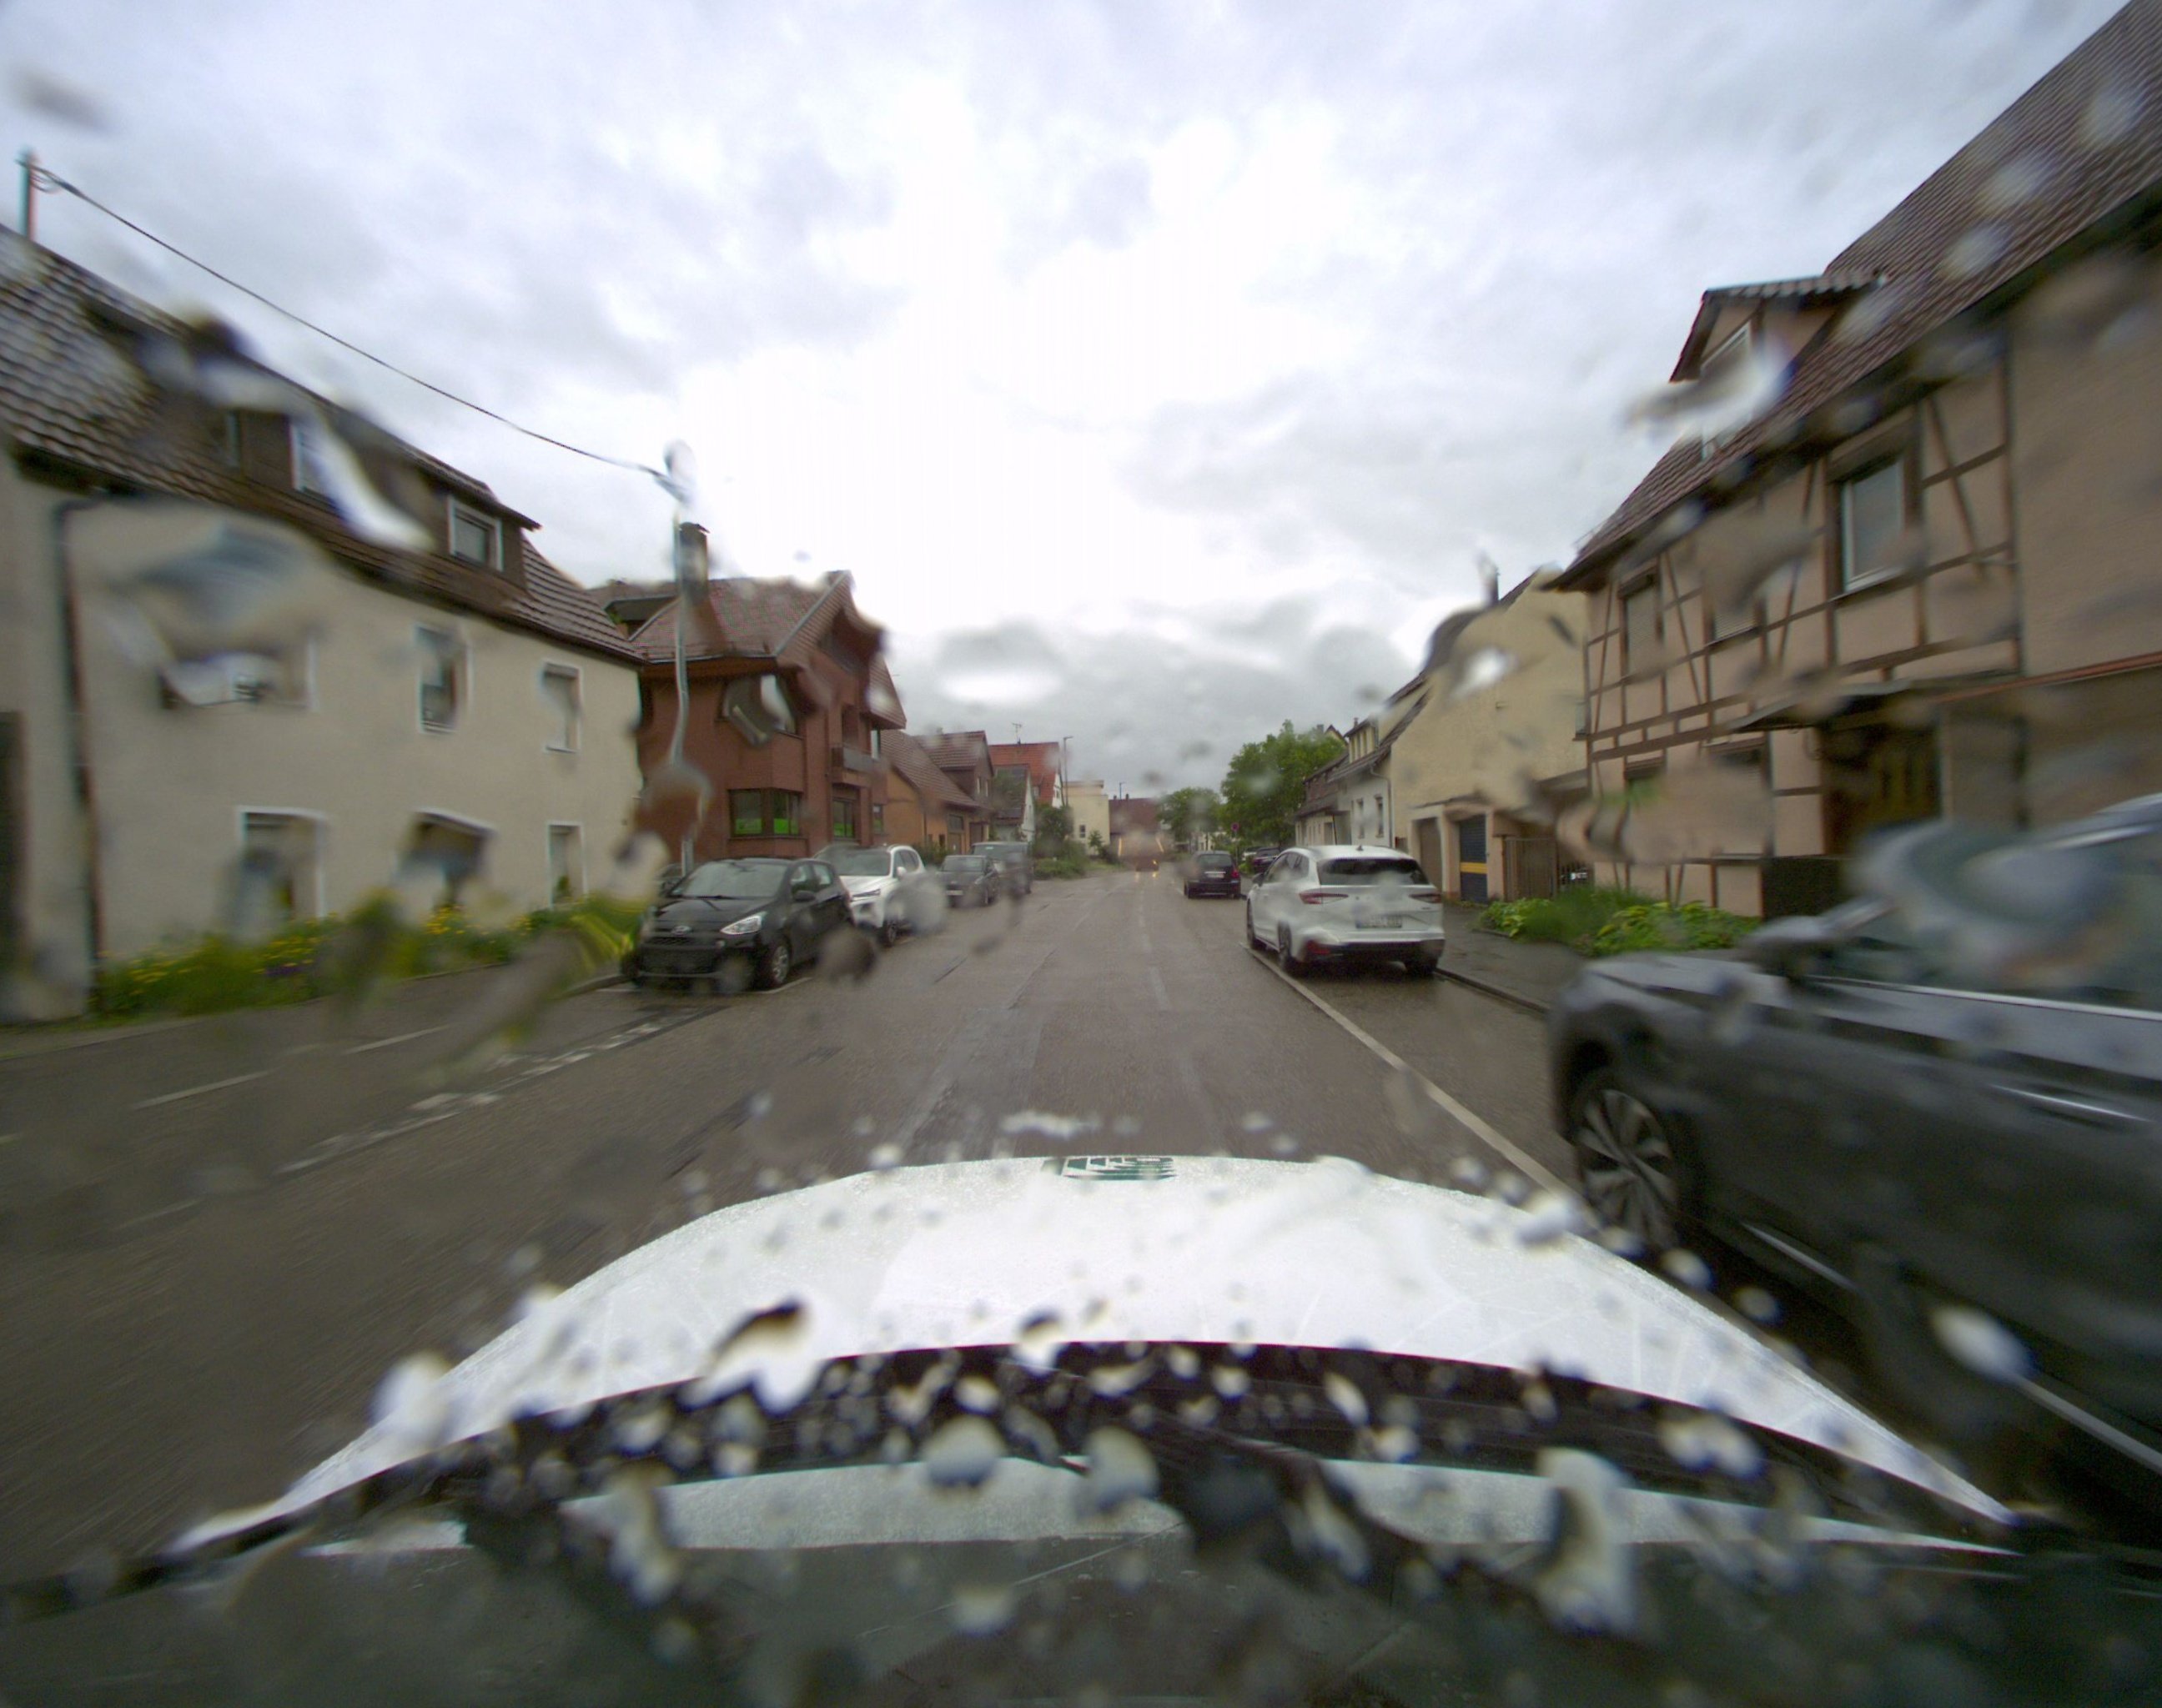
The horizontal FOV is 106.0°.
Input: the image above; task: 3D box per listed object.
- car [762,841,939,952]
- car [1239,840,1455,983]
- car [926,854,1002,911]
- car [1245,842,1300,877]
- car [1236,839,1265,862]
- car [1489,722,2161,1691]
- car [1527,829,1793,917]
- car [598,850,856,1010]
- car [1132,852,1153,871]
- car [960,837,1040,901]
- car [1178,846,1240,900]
[{"bbox_3d":[-3.894,0.659,14.655,1.758,1.619,4.656,-2,0,1],"label":"car"},{"bbox_3d":[3.425,0.648,11.444,1.795,1.595,4.616,0,0,4],"label":"car"},{"bbox_3d":[-3.408,0.795,24.290,1.572,1.497,3.569,-2,0,2],"label":"car"},{"bbox_3d":[9.669,0.248,40.877,1.743,1.393,4.024,-8,-2,25],"label":"car"},{"bbox_3d":[11.344,-0.217,54.674,1.628,1.430,3.686,-2,0,8],"label":"car"},{"bbox_3d":[2.883,0.630,1.755,1.901,1.717,4.558,0,0,2],"label":"car"},{"bbox_3d":[11.366,0.364,16.237,3.896,1.457,1.810,-3,-1,6],"label":"car"},{"bbox_3d":[-4.155,0.800,10.145,1.598,1.617,3.279,-2,0,3],"label":"car"},{"bbox_3d":[5.349,0.628,70.512,1.790,1.640,4.005,0,0,4],"label":"car"},{"bbox_3d":[-2.772,0.493,29.162,1.813,2.013,5.222,-2,0,5],"label":"car"},{"bbox_3d":[4.392,0.633,28.466,1.742,1.710,4.004,-2,0,4],"label":"car"}]
